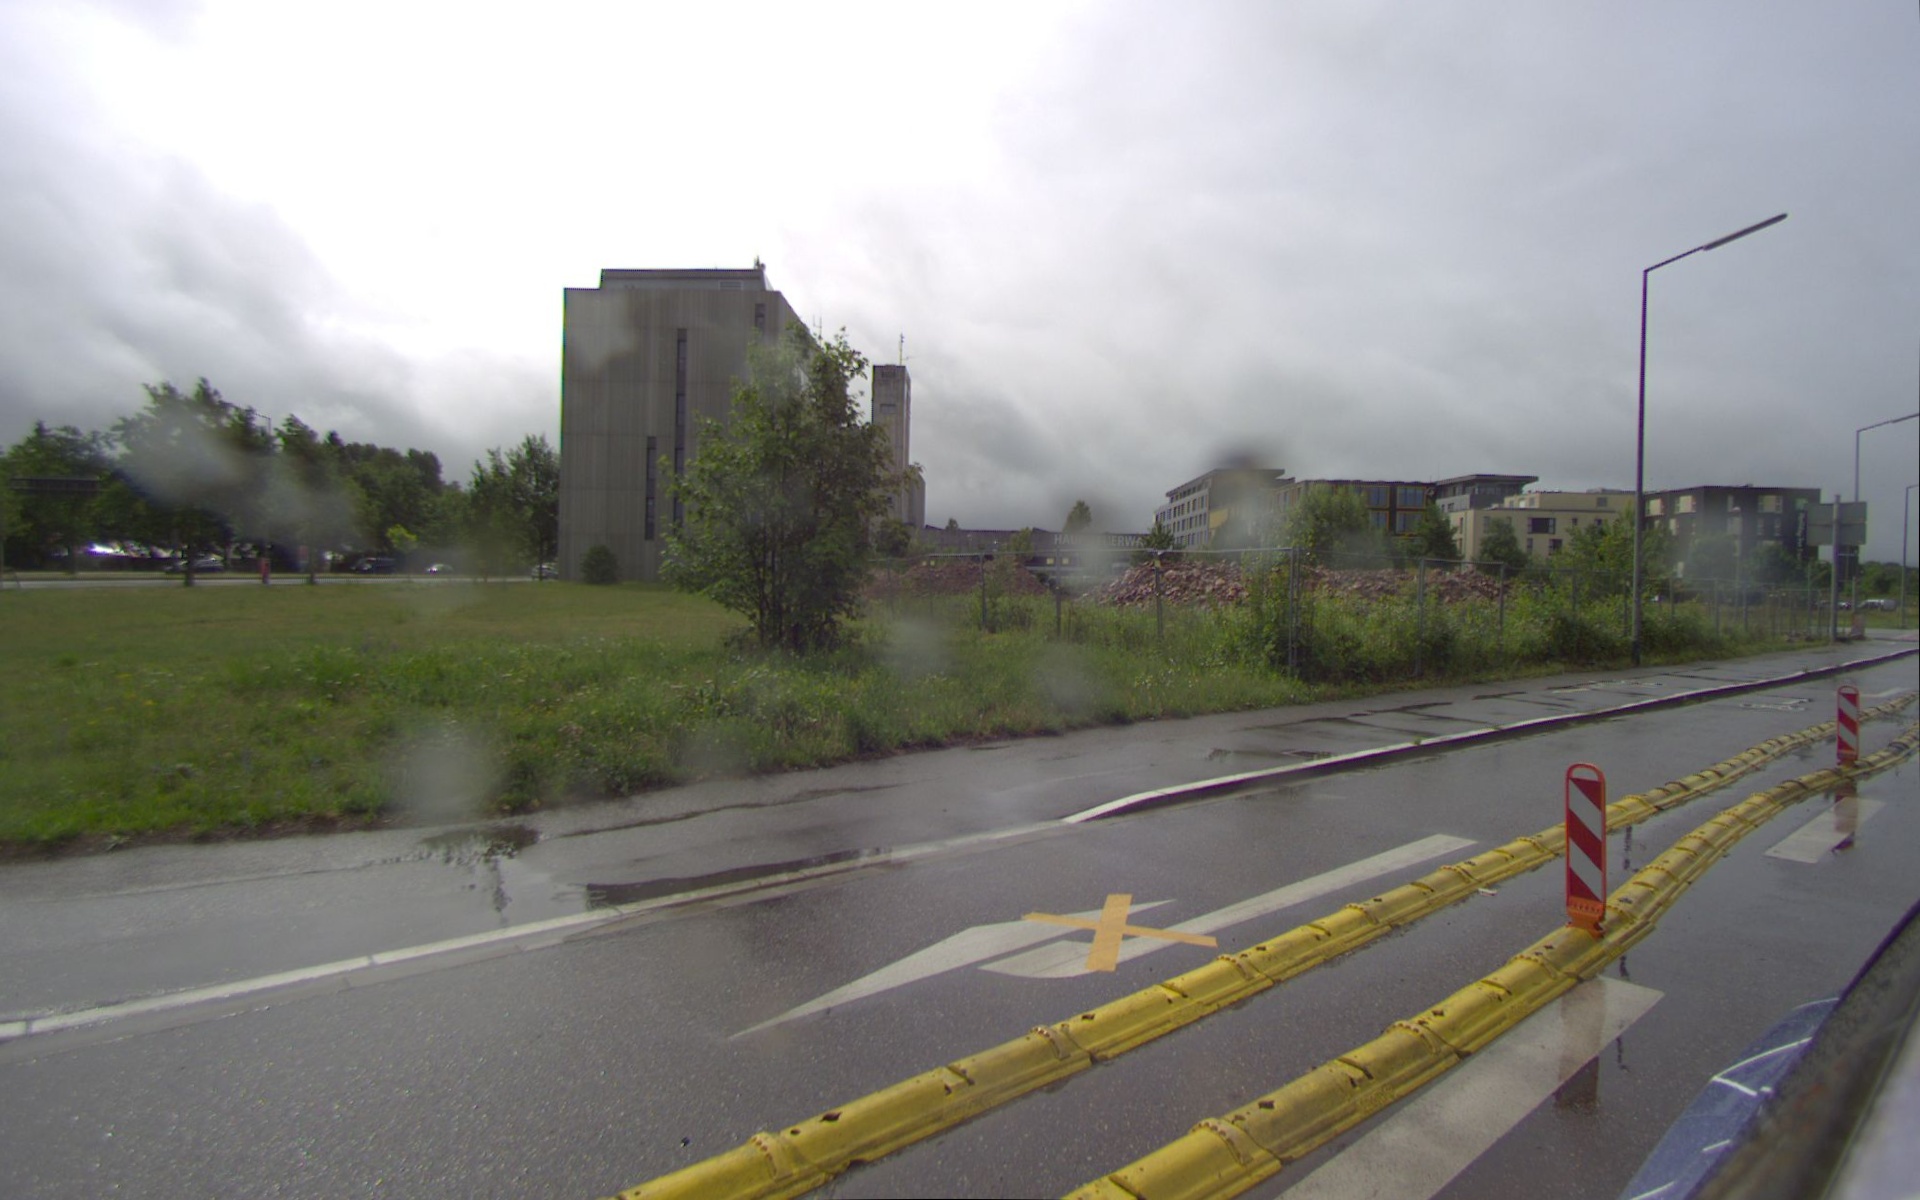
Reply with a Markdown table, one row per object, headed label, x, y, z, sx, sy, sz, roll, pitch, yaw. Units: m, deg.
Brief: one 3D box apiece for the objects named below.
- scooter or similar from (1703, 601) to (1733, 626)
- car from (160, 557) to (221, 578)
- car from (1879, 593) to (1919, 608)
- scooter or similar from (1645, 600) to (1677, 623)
| label | x | y | z | sx | sy | sz | roll | pitch | yaw |
| --- | --- | --- | --- | --- | --- | --- | --- | --- | --- |
| scooter or similar | 37.297 | 0.662 | 49.793 | 0.473 | 1.164 | 1.197 | 1 | 1 | -7 |
| car | -61.017 | -2.583 | 80.351 | 1.515 | 1.578 | 4.232 | 1 | 1 | 3 |
| car | 135.926 | 0.052 | 146.400 | 3.930 | 2.039 | 1.997 | 1 | 1 | 6 |
| scooter or similar | 36.350 | 0.593 | 52.501 | 0.731 | 1.164 | 1.197 | 1 | 1 | -8 |
